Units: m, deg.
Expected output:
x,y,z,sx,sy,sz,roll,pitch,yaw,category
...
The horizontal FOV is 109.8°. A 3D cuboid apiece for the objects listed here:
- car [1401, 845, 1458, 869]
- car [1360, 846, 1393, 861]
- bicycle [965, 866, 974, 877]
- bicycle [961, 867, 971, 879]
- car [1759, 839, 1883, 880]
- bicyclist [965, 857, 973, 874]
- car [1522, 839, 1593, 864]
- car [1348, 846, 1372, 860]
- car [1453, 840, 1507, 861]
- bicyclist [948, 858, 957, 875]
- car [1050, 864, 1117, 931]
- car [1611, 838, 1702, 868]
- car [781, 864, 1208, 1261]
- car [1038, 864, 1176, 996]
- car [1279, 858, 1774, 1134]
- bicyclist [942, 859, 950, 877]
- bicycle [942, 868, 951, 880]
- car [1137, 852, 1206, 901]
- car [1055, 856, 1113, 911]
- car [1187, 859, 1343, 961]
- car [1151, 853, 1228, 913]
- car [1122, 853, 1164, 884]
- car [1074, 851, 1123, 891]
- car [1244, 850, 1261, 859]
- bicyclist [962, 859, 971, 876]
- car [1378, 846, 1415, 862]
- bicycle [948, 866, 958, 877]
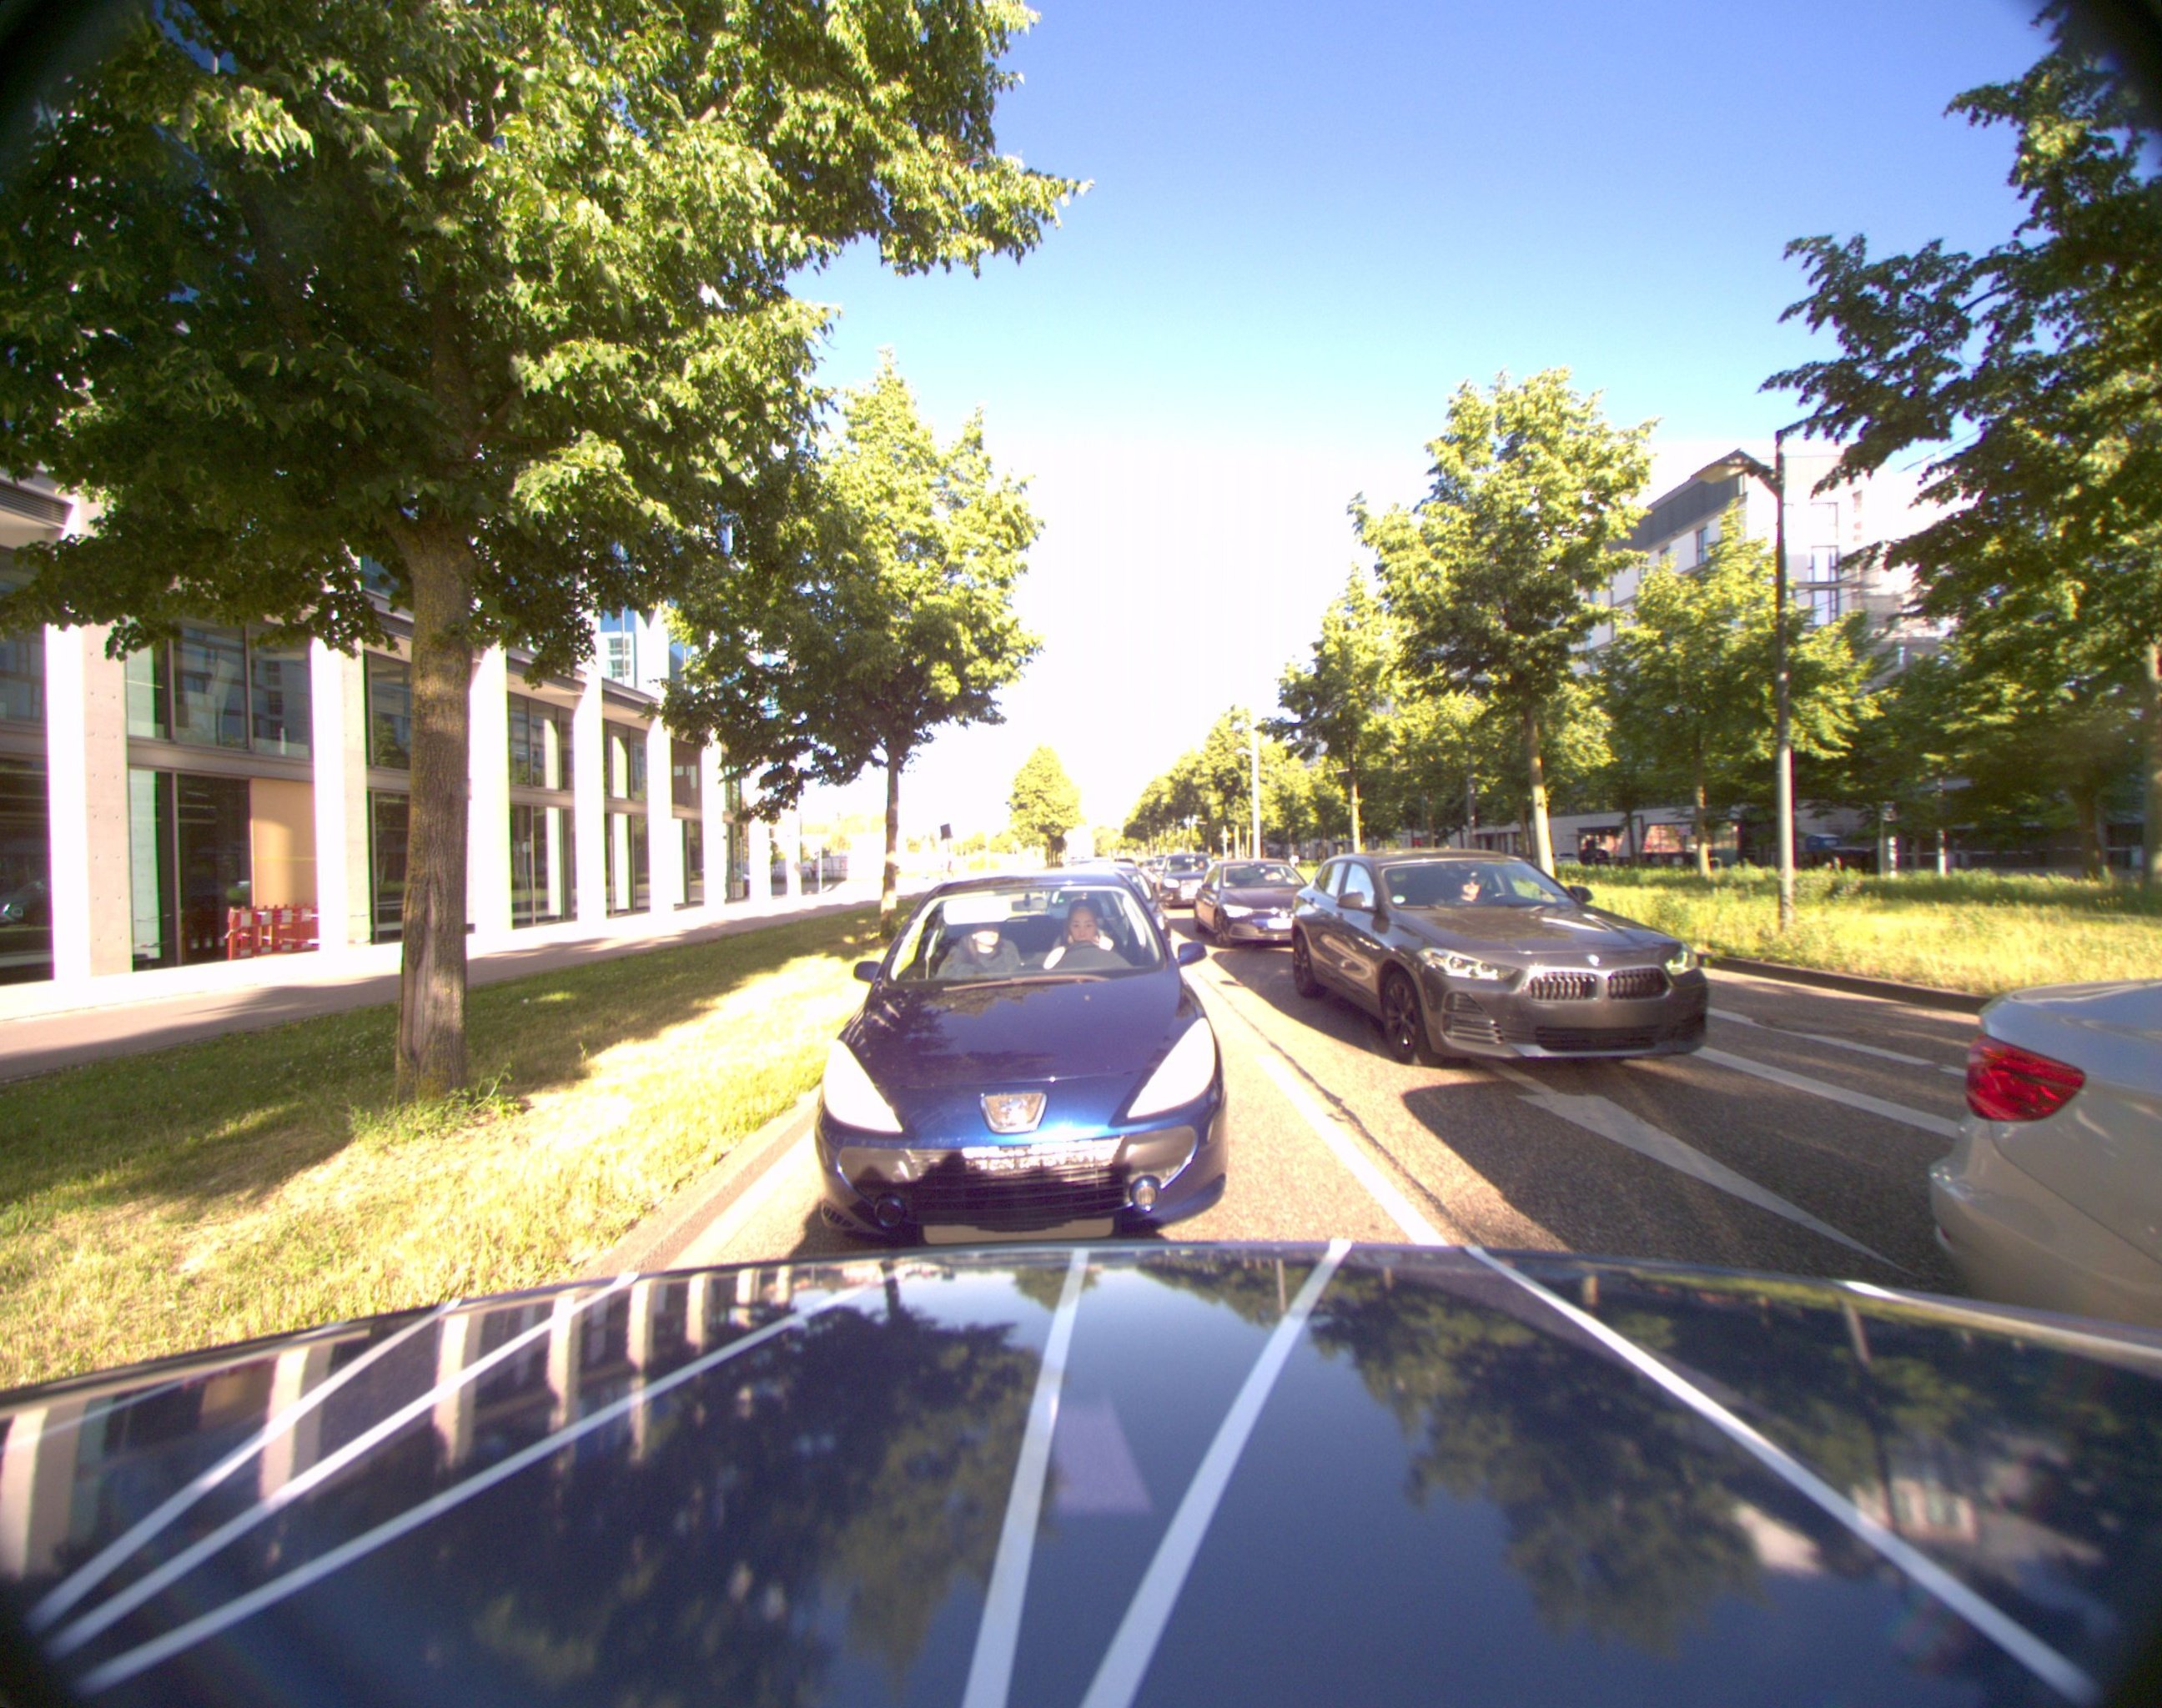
x,y,z,sx,sy,sz,roll,pitch,yaw,category
24.203,0.174,52.932,1.858,1.528,4.735,-1,0,1,car
34.695,-0.065,89.385,2.012,1.689,4.791,-1,0,-1,car
-8.824,1.370,60.086,0.464,0.813,1.344,-2,1,1,bicycle
-8.384,1.393,55.561,0.464,0.813,1.344,-2,1,1,bicycle
34.049,0.216,35.135,1.858,1.739,4.000,-1,0,1,car
-8.851,0.900,60.027,0.534,1.282,0.521,-2,1,1,bicyclist
34.832,-0.181,55.739,2.012,1.689,4.791,-1,0,-3,car
34.619,-0.175,94.214,1.601,1.659,3.743,-1,0,1,car
34.629,-0.283,66.078,2.012,1.689,4.791,-1,0,-3,car
-10.036,0.954,59.349,0.534,1.282,0.457,-2,1,1,bicyclist
0.081,0.950,18.052,1.407,1.326,3.785,-1,0,1,car
34.419,-0.048,45.615,1.858,1.674,4.792,-1,0,1,car
-0.324,0.870,4.964,1.686,1.513,3.785,-1,0,1,car
0.340,0.944,11.290,1.612,1.463,4.395,-1,0,1,car
3.080,0.829,6.375,1.812,1.513,4.029,-1,0,1,car
-9.847,0.989,55.560,0.448,1.282,0.418,-2,1,1,bicyclist
-9.833,1.449,55.554,0.415,0.813,1.320,-2,1,1,bicycle
3.377,0.799,29.235,2.012,1.689,4.791,-1,0,-1,car
0.116,0.908,25.014,1.705,1.591,3.785,-1,0,1,car
3.048,0.848,13.465,1.812,1.445,4.254,-1,0,2,car
3.140,0.794,22.683,1.812,1.581,4.165,-1,0,2,car
3.621,0.812,45.363,2.012,1.689,4.791,-1,0,-1,car
0.731,0.724,34.931,2.012,1.689,4.791,-1,0,-1,car
26.625,0.118,118.020,1.666,1.384,4.000,-1,0,1,car
-8.397,0.969,55.552,0.534,1.210,0.507,-2,1,1,bicyclist
34.664,-0.014,83.578,2.012,1.689,4.791,-1,0,-1,car
-9.982,1.355,59.376,0.464,0.813,1.344,-2,1,1,bicycle
